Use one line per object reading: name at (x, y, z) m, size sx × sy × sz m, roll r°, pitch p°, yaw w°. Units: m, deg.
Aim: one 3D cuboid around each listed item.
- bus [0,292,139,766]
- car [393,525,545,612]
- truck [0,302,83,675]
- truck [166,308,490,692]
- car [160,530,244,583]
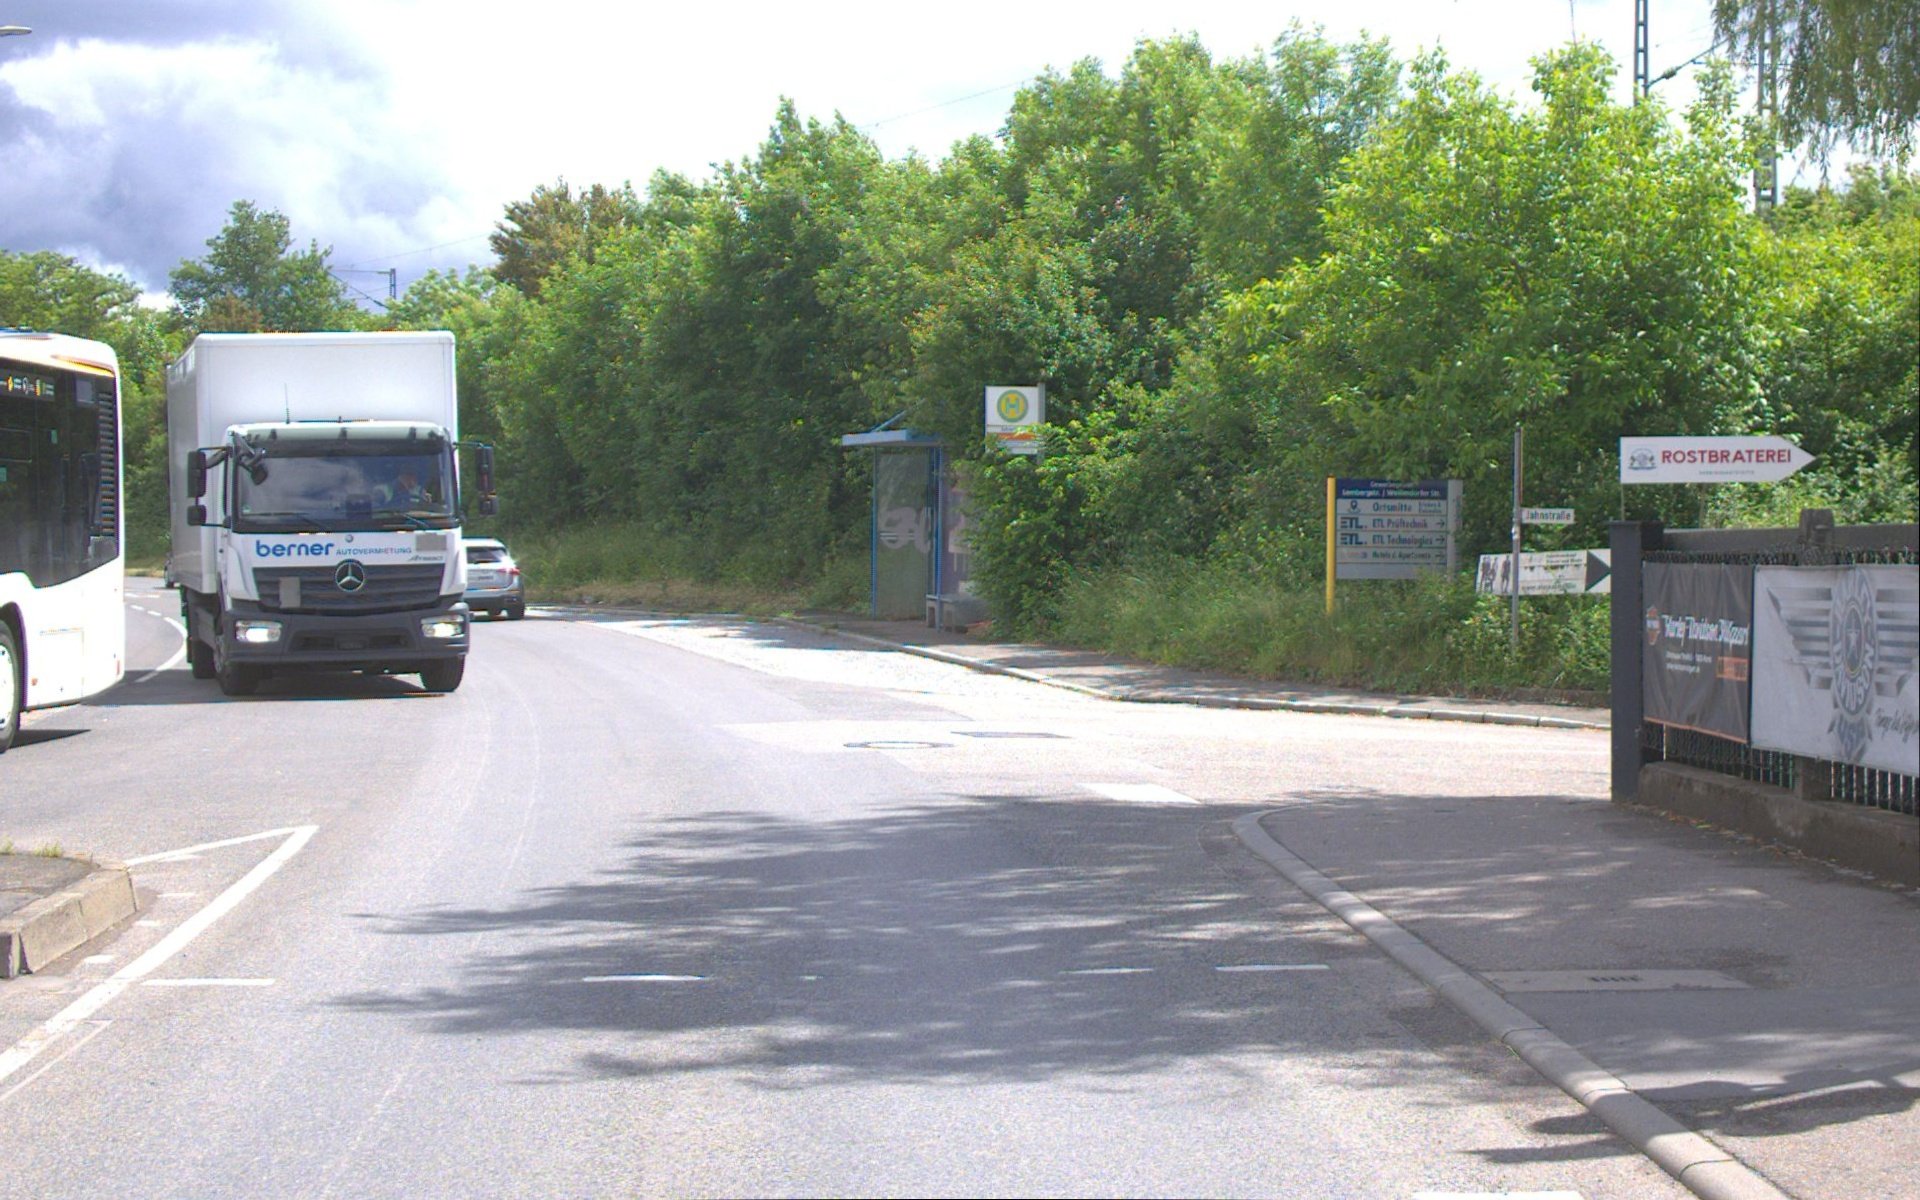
bus at (-8.011, -0.424, 21.238) m, size 2.777 × 3.255 × 12.124 m, roll -1°, pitch 1°, yaw 1°
car at (-8.841, -0.583, 61.654) m, size 1.884 × 1.503 × 4.001 m, roll 0°, pitch 1°, yaw -21°
truck at (-12.208, -1.288, 40.634) m, size 2.428 × 4.117 × 9.152 m, roll 2°, pitch 0°, yaw -8°
truck at (-6.957, -1.015, 36.713) m, size 2.839 × 3.528 × 9.728 m, roll 0°, pitch 1°, yaw -14°
car at (-22.486, -1.307, 101.920) m, size 1.884 × 1.503 × 4.001 m, roll 0°, pitch 1°, yaw -20°
